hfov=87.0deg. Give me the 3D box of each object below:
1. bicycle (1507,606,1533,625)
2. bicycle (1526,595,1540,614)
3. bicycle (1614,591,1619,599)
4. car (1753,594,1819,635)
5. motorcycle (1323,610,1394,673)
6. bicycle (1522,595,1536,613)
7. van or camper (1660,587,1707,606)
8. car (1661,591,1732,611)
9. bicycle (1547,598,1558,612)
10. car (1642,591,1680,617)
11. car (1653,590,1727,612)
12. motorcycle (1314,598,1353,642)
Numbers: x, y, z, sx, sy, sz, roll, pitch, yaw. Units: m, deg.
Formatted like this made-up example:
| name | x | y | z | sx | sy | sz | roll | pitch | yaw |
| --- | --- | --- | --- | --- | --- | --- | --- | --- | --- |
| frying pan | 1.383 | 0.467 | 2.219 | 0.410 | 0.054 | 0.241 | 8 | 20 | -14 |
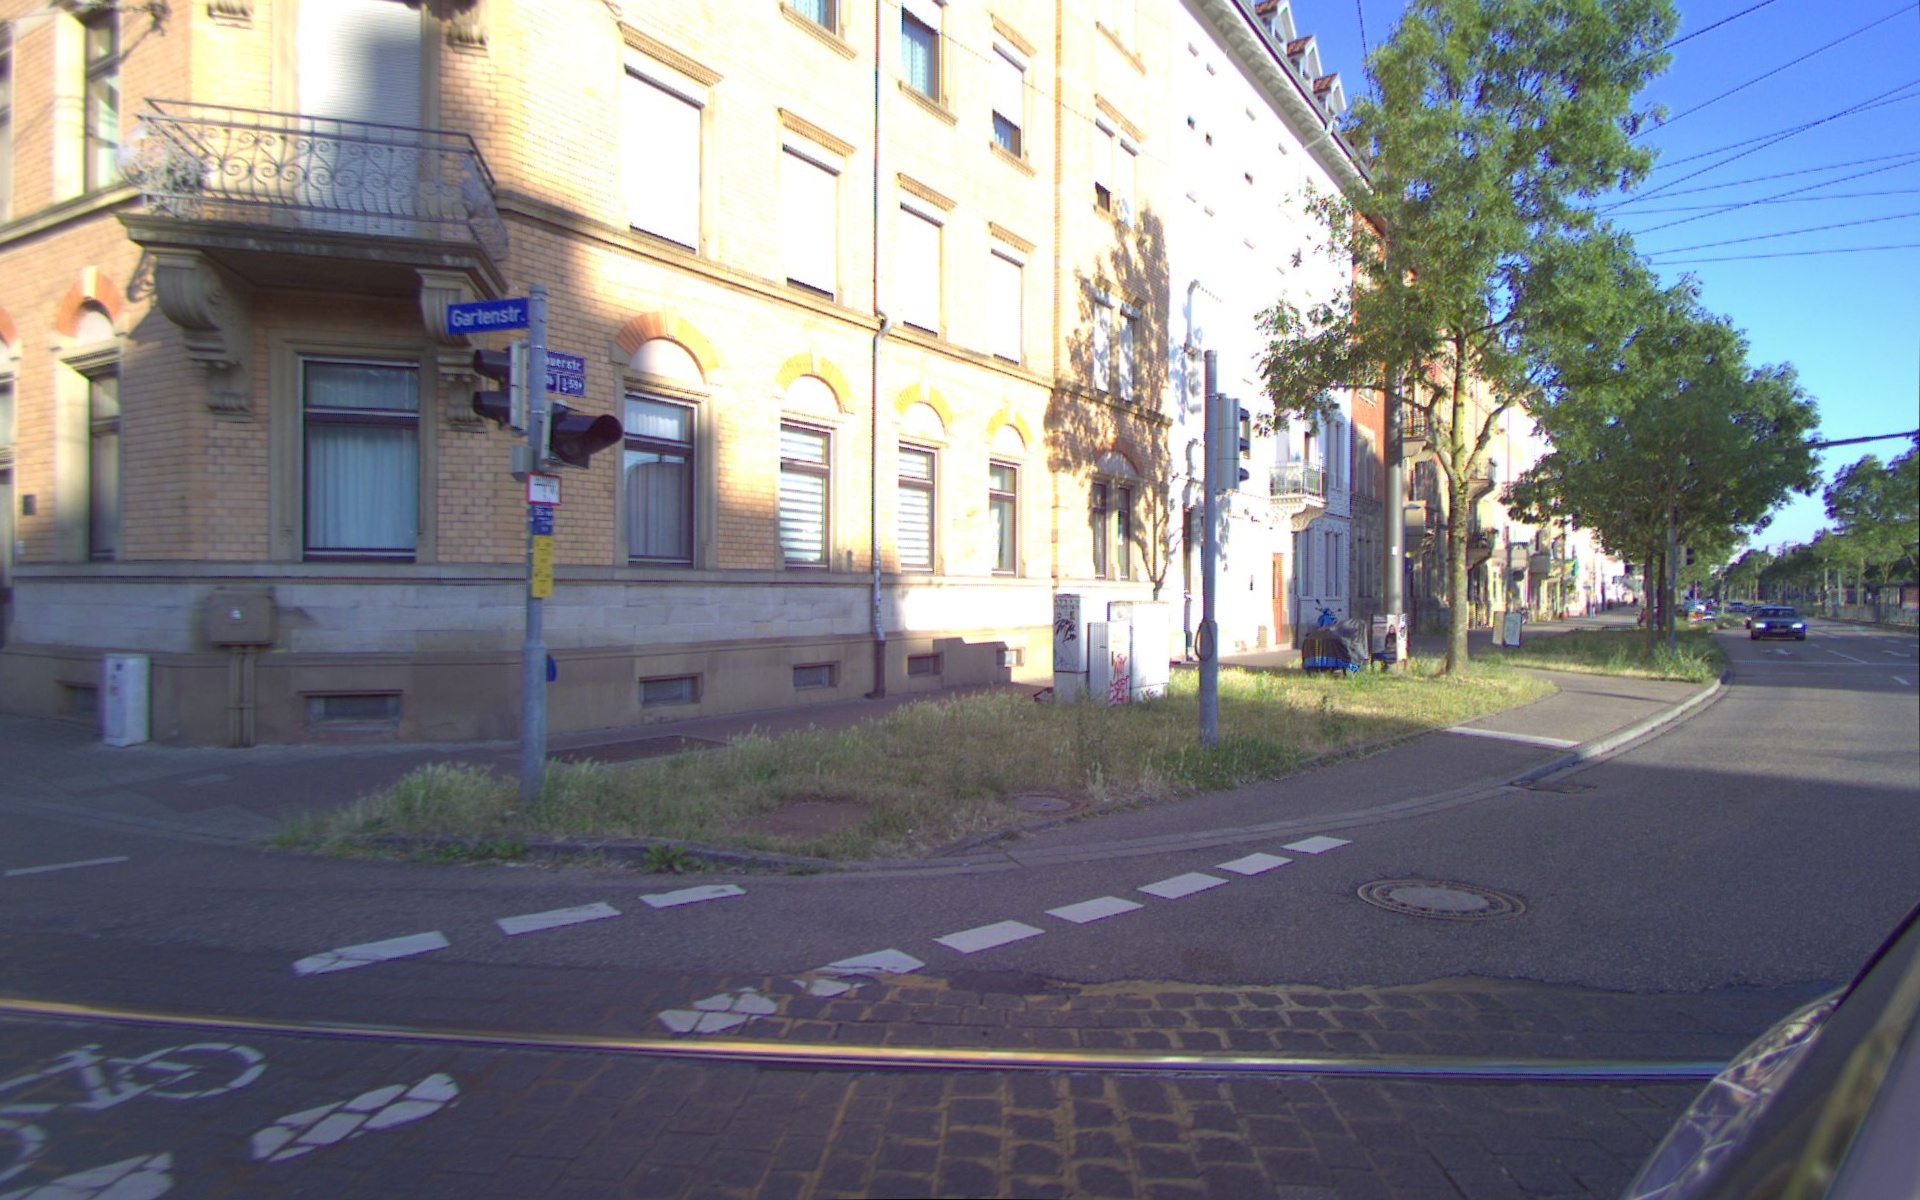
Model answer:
| name | x | y | z | sx | sy | sz | roll | pitch | yaw |
| --- | --- | --- | --- | --- | --- | --- | --- | --- | --- |
| bicycle | 29.079 | 0.785 | 52.538 | 0.870 | 0.927 | 2.056 | 2 | 2 | 38 |
| bicycle | 39.123 | 0.297 | 69.081 | 0.482 | 1.179 | 1.723 | 6 | 4 | 36 |
| bicycle | 92.808 | -0.723 | 143.078 | 0.577 | 1.003 | 1.903 | 0 | 0 | 36 |
| car | 36.568 | 0.584 | 44.752 | 1.993 | 1.686 | 3.937 | 0 | 1 | 43 |
| motorcycle | 7.231 | 0.729 | 18.343 | 0.604 | 1.057 | 1.717 | 0 | 0 | 43 |
| bicycle | 38.008 | 0.270 | 67.569 | 0.482 | 1.179 | 1.723 | 6 | 4 | 36 |
| van or camper | 112.166 | -0.615 | 157.043 | 2.158 | 2.848 | 5.662 | 0 | 0 | -22 |
| car | 59.031 | 0.112 | 81.216 | 1.808 | 1.541 | 4.296 | -1 | 0 | -21 |
| bicycle | 46.338 | 0.390 | 79.114 | 0.571 | 1.087 | 1.872 | 1 | 1 | 36 |
| car | 43.189 | 0.251 | 62.320 | 1.699 | 1.467 | 4.231 | -4 | -2 | 37 |
| car | 57.173 | 0.105 | 79.362 | 1.960 | 1.592 | 4.349 | -1 | -1 | -20 |
| motorcycle | 11.099 | 0.573 | 30.013 | 0.552 | 1.229 | 2.047 | -2 | 0 | 35 |
